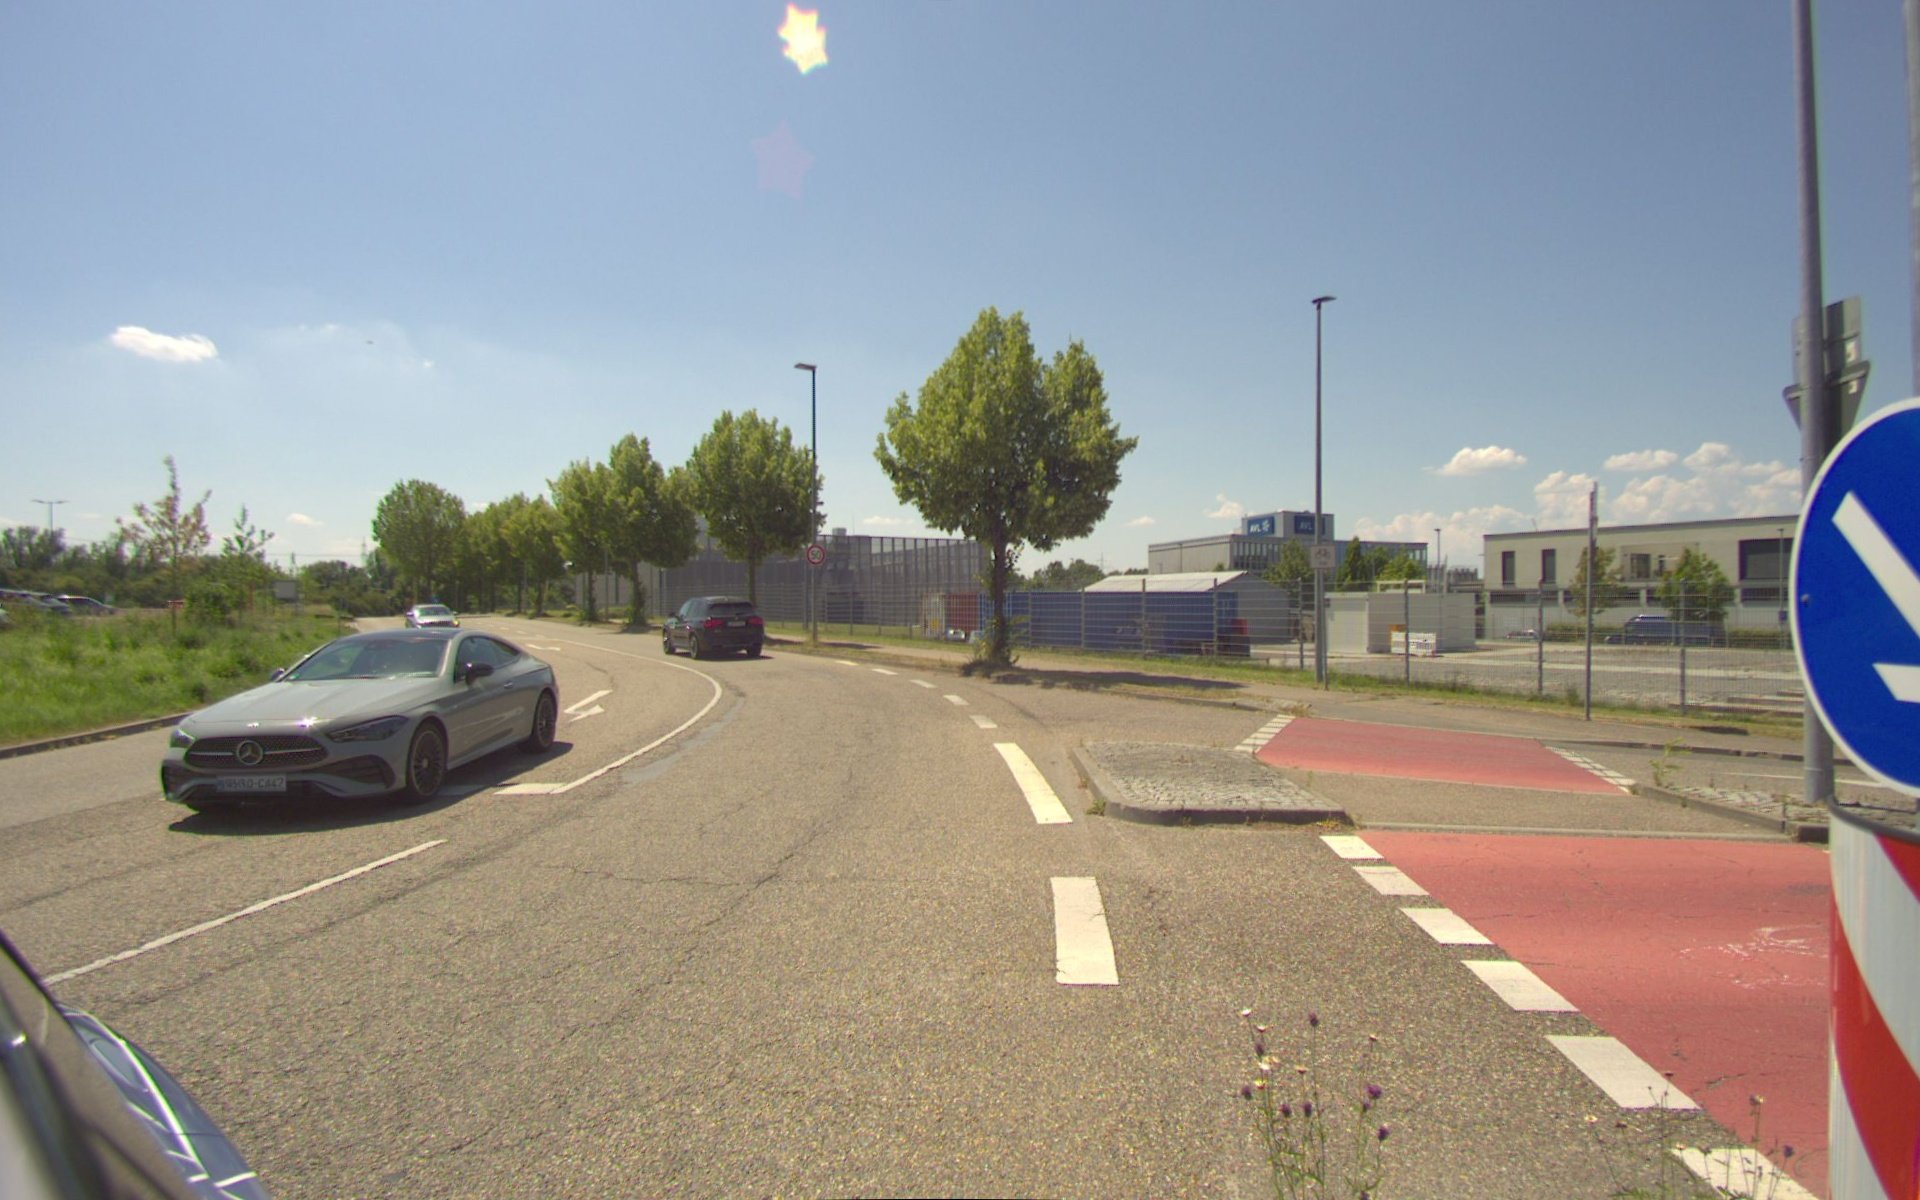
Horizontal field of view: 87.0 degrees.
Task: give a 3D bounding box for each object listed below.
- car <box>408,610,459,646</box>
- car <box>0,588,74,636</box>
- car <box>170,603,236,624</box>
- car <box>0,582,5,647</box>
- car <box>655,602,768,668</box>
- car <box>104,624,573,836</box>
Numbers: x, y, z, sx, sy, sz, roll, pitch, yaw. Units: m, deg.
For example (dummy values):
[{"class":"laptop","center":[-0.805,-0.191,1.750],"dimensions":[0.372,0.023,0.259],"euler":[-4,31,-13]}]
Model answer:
[{"class":"car","center":[-23.120,1.184,44.374],"dimensions":[1.646,1.385,4.510],"euler":[-3,2,-31]},{"class":"car","center":[-27.837,0.373,28.550],"dimensions":[3.932,1.301,1.914],"euler":[-2,2,-31]},{"class":"car","center":[-57.701,1.002,77.202],"dimensions":[3.934,1.361,1.651],"euler":[-2,2,-36]},{"class":"car","center":[-25.314,0.325,23.883],"dimensions":[3.785,1.636,1.621],"euler":[1,-1,-35]},{"class":"car","center":[-7.112,0.903,28.630],"dimensions":[1.838,1.647,4.613],"euler":[-1,1,-31]},{"class":"car","center":[-5.402,0.997,9.689],"dimensions":[1.870,1.393,4.637],"euler":[-1,0,-4]}]
